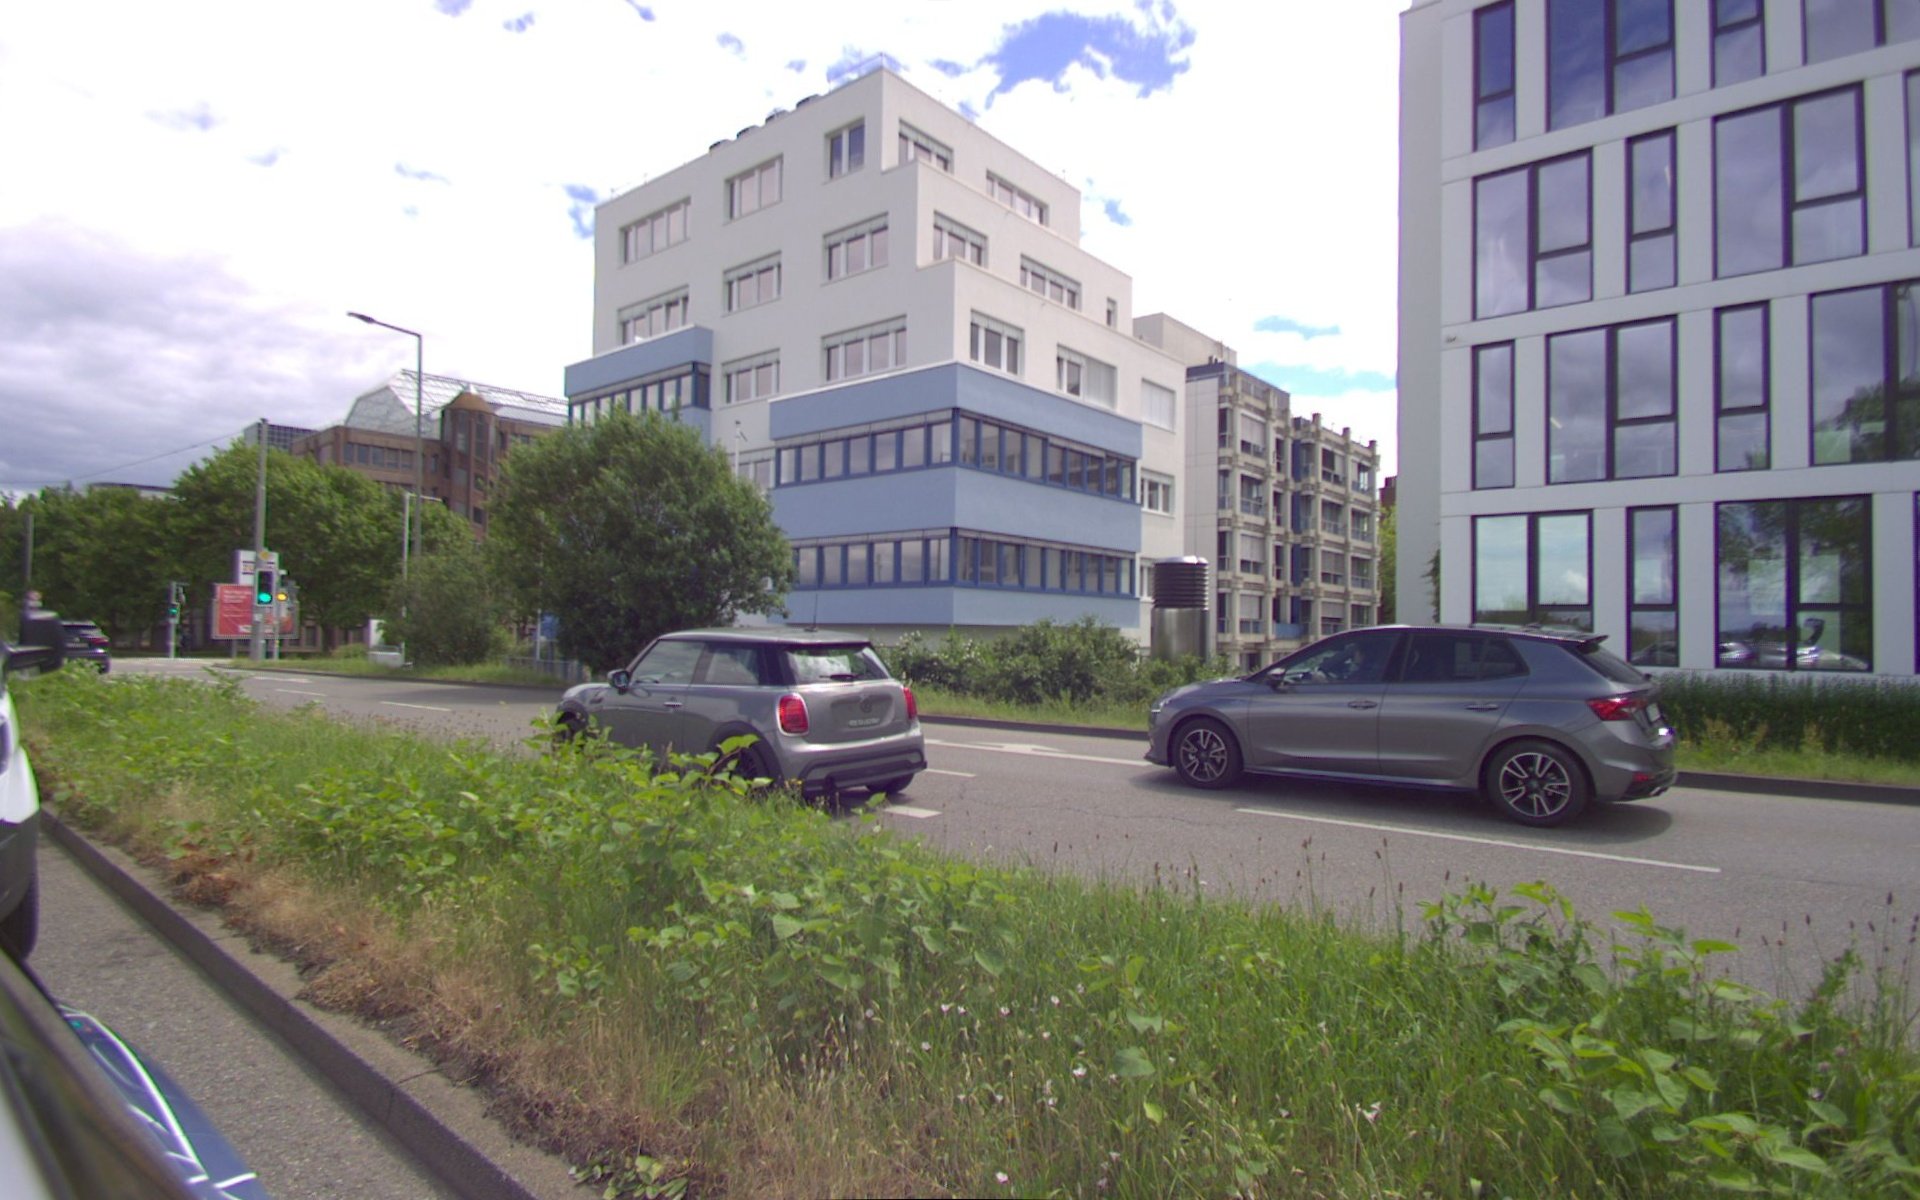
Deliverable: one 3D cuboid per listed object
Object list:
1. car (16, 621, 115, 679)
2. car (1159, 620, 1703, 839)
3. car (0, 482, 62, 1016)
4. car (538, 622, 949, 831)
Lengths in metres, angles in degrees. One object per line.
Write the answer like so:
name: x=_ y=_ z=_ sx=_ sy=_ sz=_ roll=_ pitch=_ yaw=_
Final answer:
car: x=-27.187 y=1.461 z=30.730 sx=4.041 sy=1.614 sz=1.678 roll=-1 pitch=-2 yaw=40
car: x=3.689 y=0.888 z=8.315 sx=3.777 sy=1.393 sz=1.538 roll=-2 pitch=-2 yaw=41
car: x=-5.955 y=0.592 z=4.790 sx=5.052 sy=1.965 sz=1.942 roll=-2 pitch=-1 yaw=41
car: x=-1.996 y=0.916 z=8.810 sx=3.633 sy=1.441 sz=1.671 roll=-1 pitch=-2 yaw=41
